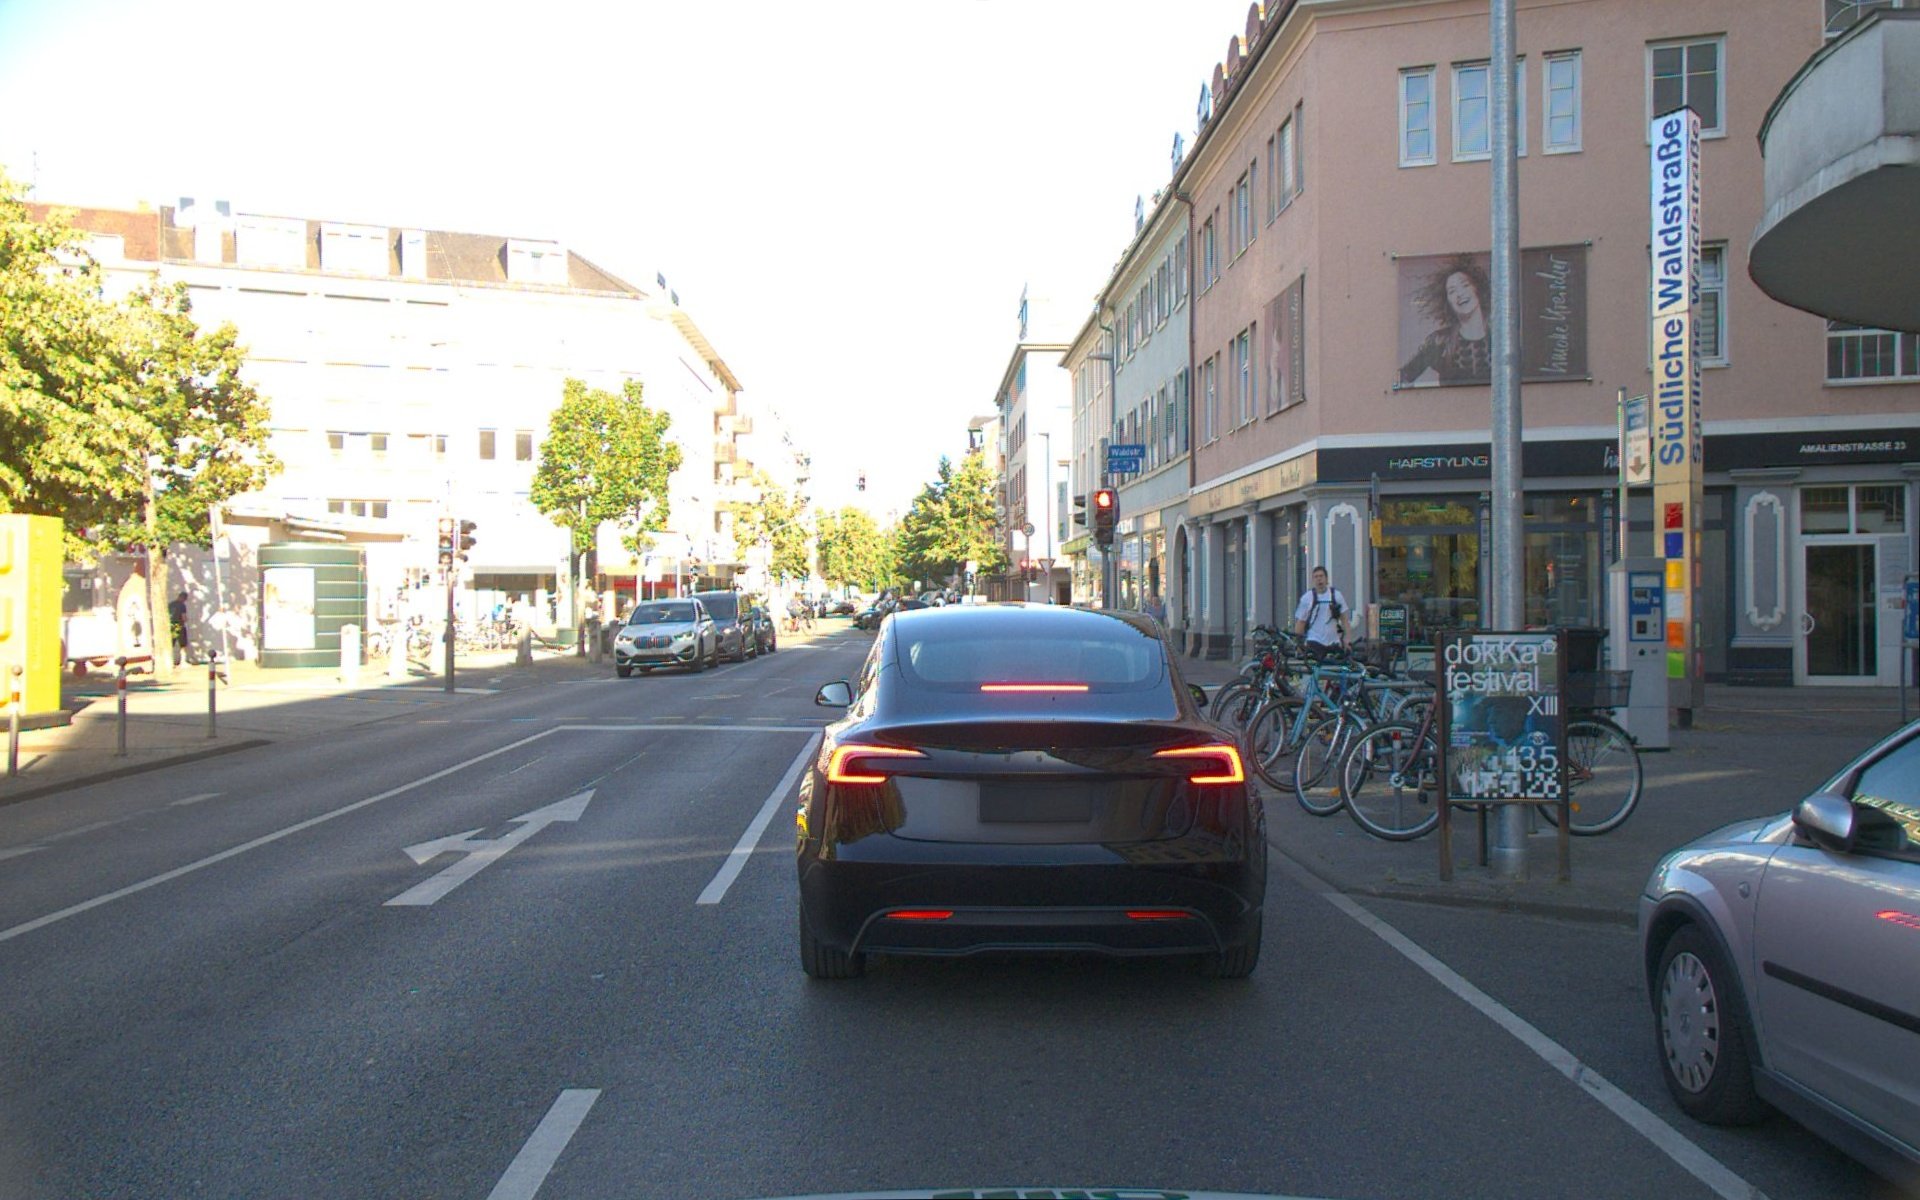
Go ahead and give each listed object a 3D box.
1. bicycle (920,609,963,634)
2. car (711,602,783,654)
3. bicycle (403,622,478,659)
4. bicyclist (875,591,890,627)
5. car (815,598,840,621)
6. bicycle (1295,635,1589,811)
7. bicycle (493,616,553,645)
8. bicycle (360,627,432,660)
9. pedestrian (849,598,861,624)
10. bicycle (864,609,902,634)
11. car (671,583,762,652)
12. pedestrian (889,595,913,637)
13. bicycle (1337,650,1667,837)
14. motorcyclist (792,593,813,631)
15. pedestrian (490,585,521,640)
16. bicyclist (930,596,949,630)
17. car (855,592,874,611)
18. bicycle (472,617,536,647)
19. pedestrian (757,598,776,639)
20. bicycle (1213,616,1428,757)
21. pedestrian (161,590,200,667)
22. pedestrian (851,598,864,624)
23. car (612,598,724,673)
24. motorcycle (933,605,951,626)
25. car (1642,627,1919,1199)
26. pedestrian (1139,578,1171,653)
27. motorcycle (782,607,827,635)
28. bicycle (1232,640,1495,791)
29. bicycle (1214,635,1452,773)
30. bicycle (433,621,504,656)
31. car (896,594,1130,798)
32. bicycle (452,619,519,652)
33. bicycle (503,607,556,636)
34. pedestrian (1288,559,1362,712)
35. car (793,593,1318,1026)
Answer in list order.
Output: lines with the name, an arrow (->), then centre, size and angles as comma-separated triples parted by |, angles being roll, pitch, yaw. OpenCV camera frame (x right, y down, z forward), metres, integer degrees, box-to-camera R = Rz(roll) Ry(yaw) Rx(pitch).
bicycle -> -0.766, 0.893, 69.472 | 1.756, 1.024, 0.469 | 1, -1, -17
car -> -6.384, 0.814, 49.908 | 1.680, 1.471, 3.844 | 1, 0, -1
bicycle -> -14.129, 1.098, 44.986 | 1.826, 0.950, 0.606 | 1, 0, -2
bicyclist -> -3.313, 0.391, 70.825 | 0.516, 1.530, 0.472 | 1, -1, -25
car -> -9.271, 0.621, 115.613 | 1.673, 1.579, 3.692 | 0, 0, -6
bicycle -> 3.243, 0.827, 11.208 | 1.834, 1.106, 0.414 | -2, -1, 3
bicycle -> -14.366, 1.011, 54.422 | 1.826, 0.950, 0.606 | 0, 0, -2
bicycle -> -14.450, 1.111, 42.404 | 1.612, 0.806, 0.606 | 1, 0, -5
pedestrian -> -5.875, 0.597, 92.375 | 0.516, 1.447, 0.474 | 1, -1, -31
bicycle -> -3.293, 0.915, 70.826 | 1.536, 1.030, 0.480 | 1, -1, -25
car -> -6.182, 0.418, 42.418 | 1.751, 1.675, 4.401 | 0, 0, -1
pedestrian -> -2.389, 0.643, 67.194 | 0.742, 1.660, 0.951 | 1, -1, -18
bicycle -> 3.261, 0.864, 10.036 | 1.833, 1.056, 0.353 | -2, -1, 6
motorcyclist -> -6.478, 0.471, 68.056 | 0.714, 1.555, 0.509 | 0, 0, -39
pedestrian -> -17.426, 0.476, 63.419 | 1.041, 2.049, 1.049 | 1, -1, -20
bicyclist -> -0.870, 0.549, 69.443 | 0.659, 1.420, 0.460 | 1, -1, -17
car -> -10.780, 0.164, 187.104 | 1.953, 2.049, 3.999 | 0, 0, -1
bicycle -> -14.330, 1.001, 51.975 | 1.826, 0.950, 0.606 | 0, 0, -2
pedestrian -> -7.449, 0.713, 63.588 | 0.612, 1.565, 0.511 | 1, -1, -19
bicycle -> 3.201, 0.766, 14.796 | 1.789, 1.189, 0.506 | -2, -1, 5
pedestrian -> -17.767, 0.647, 37.722 | 0.465, 1.746, 0.711 | 1, -1, 7
pedestrian -> -5.680, 0.596, 91.507 | 0.516, 1.447, 0.474 | 1, -1, -31
car -> -6.310, 0.742, 36.108 | 1.752, 1.485, 3.756 | -2, 0, -1
motorcycle -> -0.944, 0.799, 87.616 | 0.970, 1.105, 0.351 | 0, 0, -38
car -> 2.913, 0.788, 3.498 | 1.515, 1.415, 3.476 | 0, 0, 0
pedestrian -> 4.636, 0.375, 39.380 | 0.692, 1.773, 0.540 | 0, 0, -2
motorcycle -> -6.393, 0.841, 68.125 | 1.914, 1.130, 0.512 | 0, 0, -39
bicycle -> 3.025, 0.863, 12.503 | 1.834, 1.056, 0.533 | -2, -1, 3
bicycle -> 3.058, 0.848, 13.673 | 1.833, 1.056, 0.548 | -2, -1, 5
bicycle -> -13.997, 1.087, 47.143 | 1.826, 0.950, 0.606 | 1, 0, -2
car -> 0.313, 0.685, 13.803 | 1.683, 1.450, 3.755 | 0, 0, -2
bicycle -> -14.233, 1.048, 49.613 | 1.826, 0.950, 0.606 | 1, 0, -2
bicycle -> -20.212, 1.026, 77.727 | 2.334, 1.318, 0.509 | 1, -1, -27
pedestrian -> 4.387, 0.418, 19.921 | 0.735, 1.796, 0.837 | 1, -1, 3
car -> 0.301, 0.721, 7.626 | 1.785, 1.467, 3.999 | 0, 0, -1
